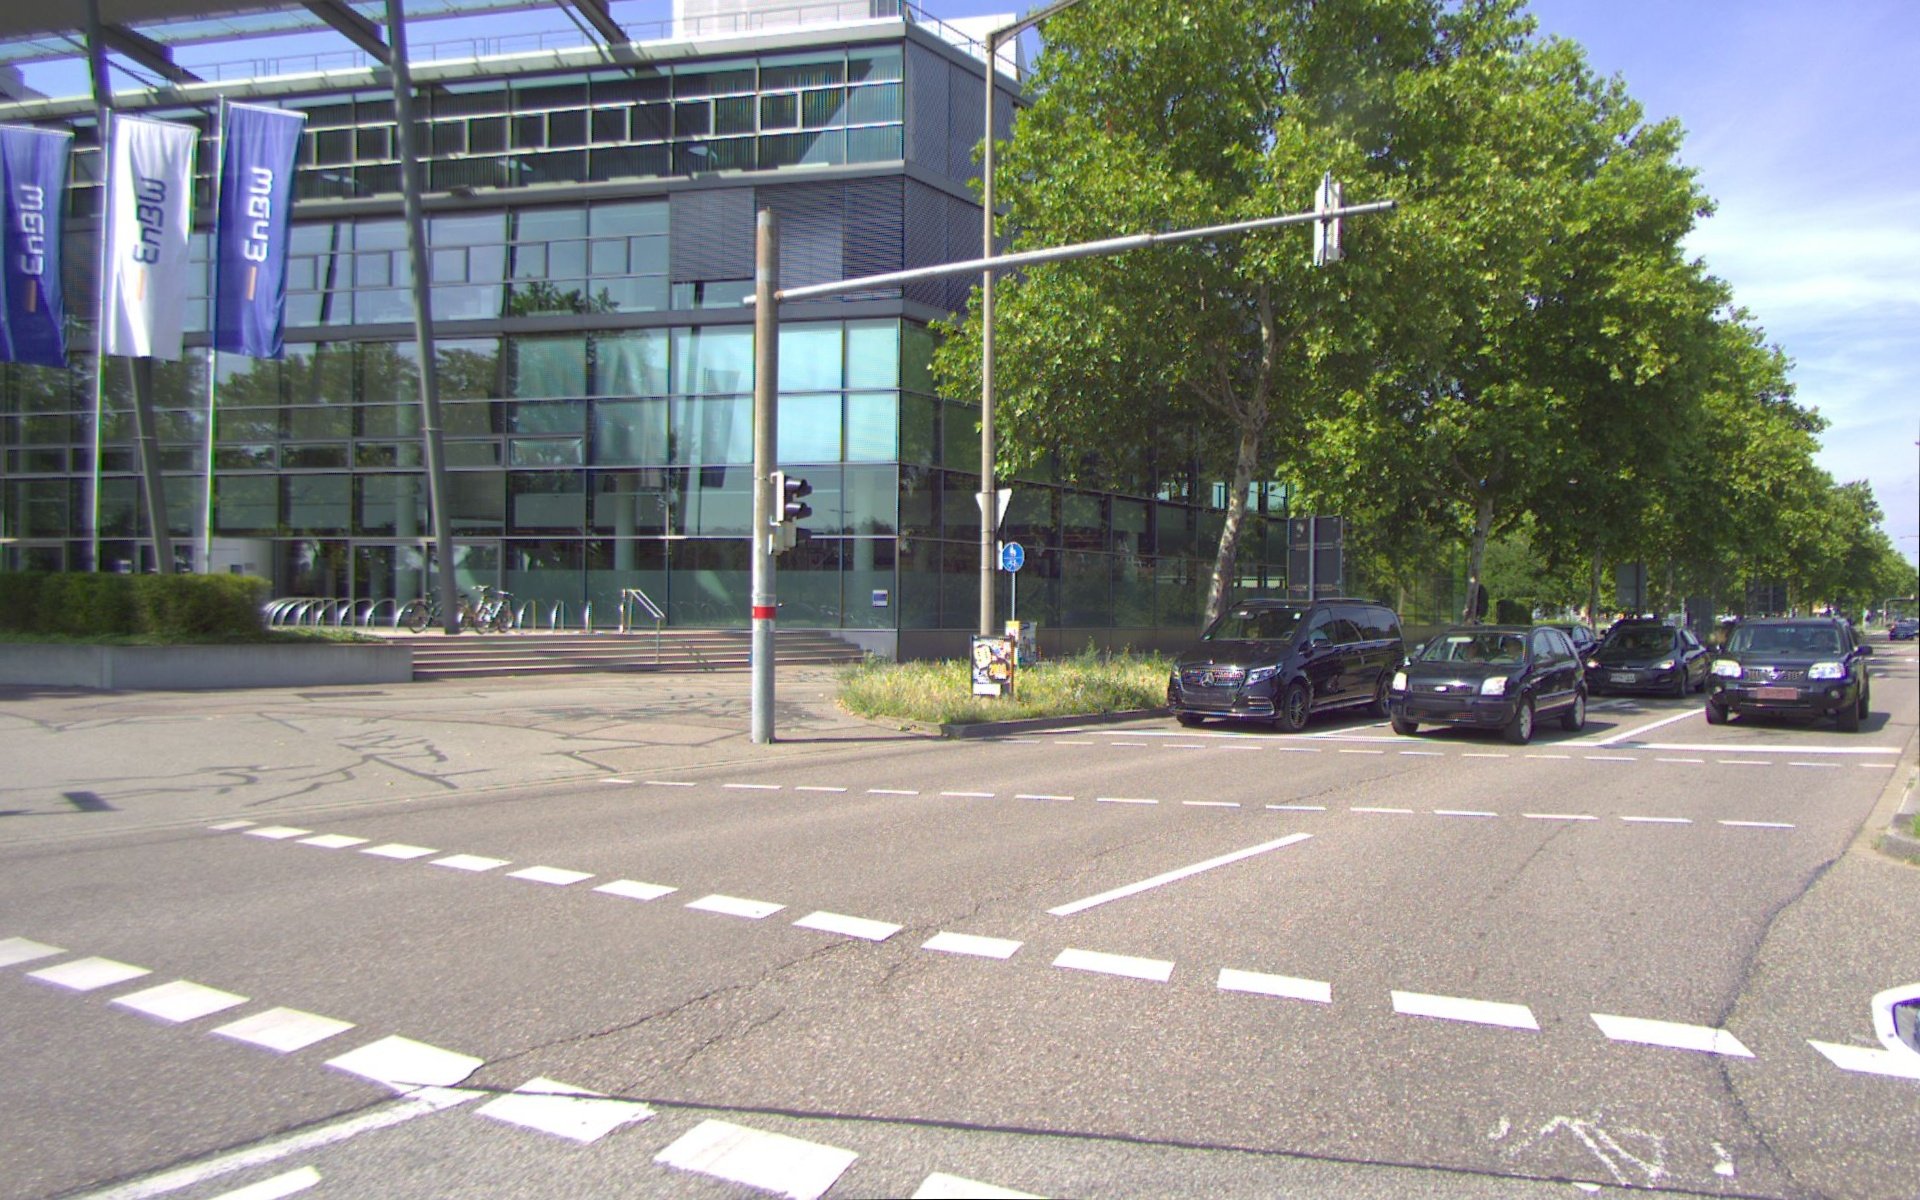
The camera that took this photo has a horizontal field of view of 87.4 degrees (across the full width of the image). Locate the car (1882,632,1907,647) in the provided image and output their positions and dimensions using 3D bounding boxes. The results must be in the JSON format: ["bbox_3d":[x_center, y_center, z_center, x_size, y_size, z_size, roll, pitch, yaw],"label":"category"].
[{"bbox_3d":[94.893,4.009,102.022,1.808,1.487,4.958,0,-1,44],"label":"car"}]

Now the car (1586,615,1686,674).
[{"bbox_3d":[22.975,1.446,34.052,4.621,1.859,1.974,1,-1,-45],"label":"car"}]

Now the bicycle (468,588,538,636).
[{"bbox_3d":[-11.282,0.294,24.860,0.724,1.126,1.801,1,0,7],"label":"bicycle"}]

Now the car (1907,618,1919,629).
[{"bbox_3d":[171.263,4.216,179.930,3.970,1.799,1.976,2,-1,-42],"label":"car"}]

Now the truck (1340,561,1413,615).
[{"bbox_3d":[28.571,-0.693,69.234,2.619,3.441,8.995,1,-1,9],"label":"truck"}]

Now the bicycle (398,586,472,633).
[{"bbox_3d":[-13.004,0.231,24.943,0.724,1.126,1.801,1,0,7],"label":"bicycle"}]

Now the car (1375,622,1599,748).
[{"bbox_3d":[7.578,1.077,14.279,1.744,1.495,3.932,0,0,45],"label":"car"}]

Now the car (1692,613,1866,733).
[{"bbox_3d":[13.139,1.030,16.008,1.789,1.637,4.463,0,-1,44],"label":"car"}]

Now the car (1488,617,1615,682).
[{"bbox_3d":[16.086,1.301,27.225,4.416,1.611,1.869,2,-2,-44],"label":"car"}]

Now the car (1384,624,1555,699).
[{"bbox_3d":[11.295,1.277,22.094,4.970,1.468,1.873,1,-2,-44],"label":"car"}]

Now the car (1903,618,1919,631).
[{"bbox_3d":[111.576,2.832,117.403,4.640,1.487,1.755,2,-2,-44],"label":"car"}]

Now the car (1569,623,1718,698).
[{"bbox_3d":[15.055,1.267,22.037,4.486,1.481,1.818,2,-3,-44],"label":"car"}]

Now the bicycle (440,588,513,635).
[{"bbox_3d":[-12.046,0.292,25.075,0.724,1.126,1.887,1,0,7],"label":"bicycle"}]

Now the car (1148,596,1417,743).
[{"bbox_3d":[5.255,0.914,15.881,1.918,1.945,5.194,0,1,45],"label":"car"}]
